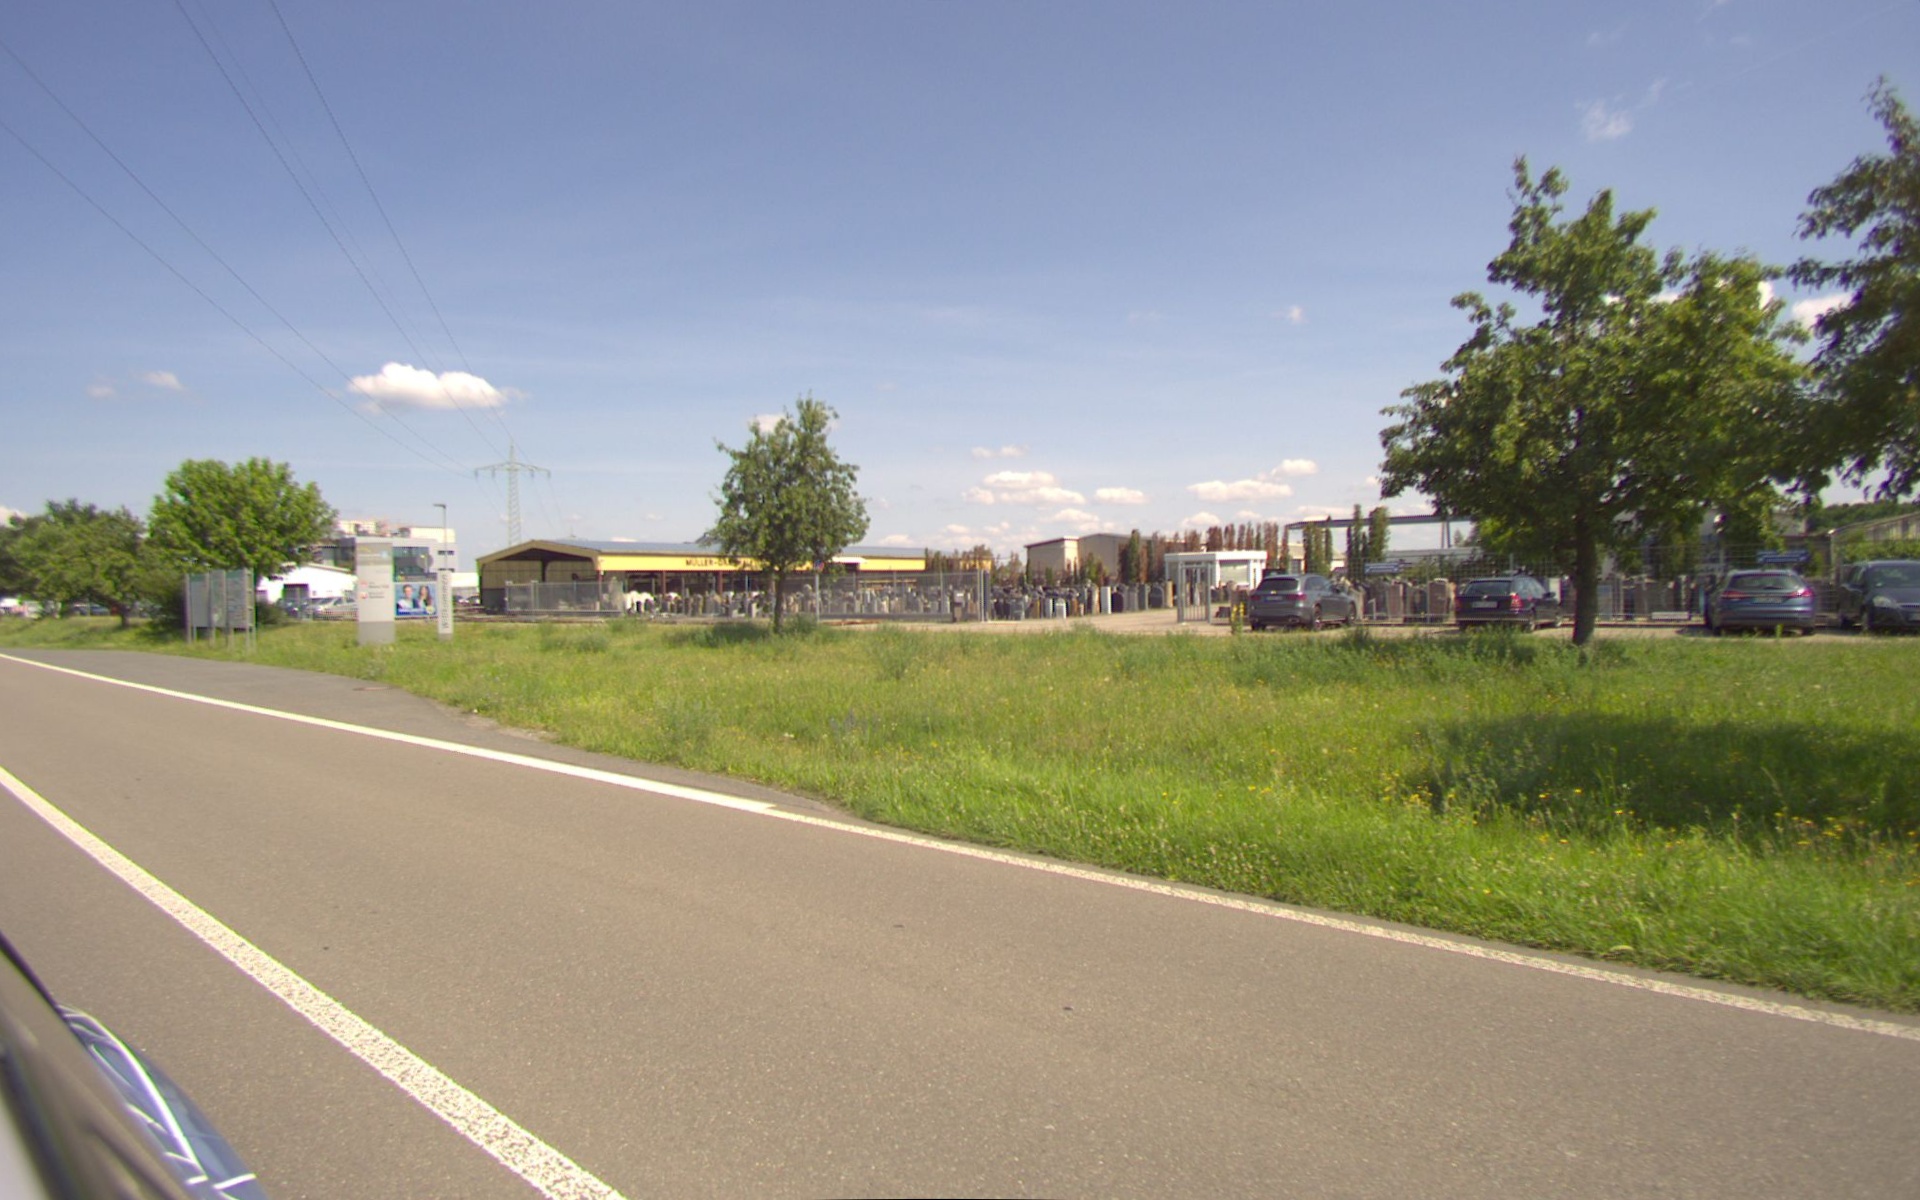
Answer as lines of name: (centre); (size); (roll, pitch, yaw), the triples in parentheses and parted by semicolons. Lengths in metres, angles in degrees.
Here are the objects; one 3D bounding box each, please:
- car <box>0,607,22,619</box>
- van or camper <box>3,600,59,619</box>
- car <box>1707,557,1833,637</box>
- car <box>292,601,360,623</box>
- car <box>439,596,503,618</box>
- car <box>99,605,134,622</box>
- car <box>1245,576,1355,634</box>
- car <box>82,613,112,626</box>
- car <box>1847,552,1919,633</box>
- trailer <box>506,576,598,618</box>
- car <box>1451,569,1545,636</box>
car: (-127.518, 1.732, 134.520); (2.000, 1.530, 3.943); (0, 1, 43)
van or camper: (-132.972, 1.328, 144.893); (5.492, 2.516, 2.086); (-2, 1, -26)
car: (18.483, -0.118, 23.252); (1.996, 1.652, 3.953); (-1, 2, 35)
car: (-44.321, 0.832, 70.880); (1.920, 1.320, 3.990); (-2, 1, 8)
car: (-38.911, 0.556, 80.634); (4.201, 1.497, 1.994); (-2, 1, 10)
car: (-91.545, 1.422, 109.816); (4.220, 1.757, 1.976); (-1, 1, 36)
car: (10.030, 0.120, 29.693); (1.996, 1.539, 3.953); (-1, 1, 35)
car: (-101.602, 2.280, 119.169); (4.513, 1.418, 1.974); (-1, 1, 40)
car: (20.916, -0.220, 22.121); (1.854, 1.652, 3.953); (-1, 1, 35)
trailer: (-29.385, -0.234, 73.000); (2.734, 2.846, 5.516); (-1, 1, 34)
car: (14.069, 0.025, 26.375); (1.662, 1.566, 3.953); (-1, 1, 35)
